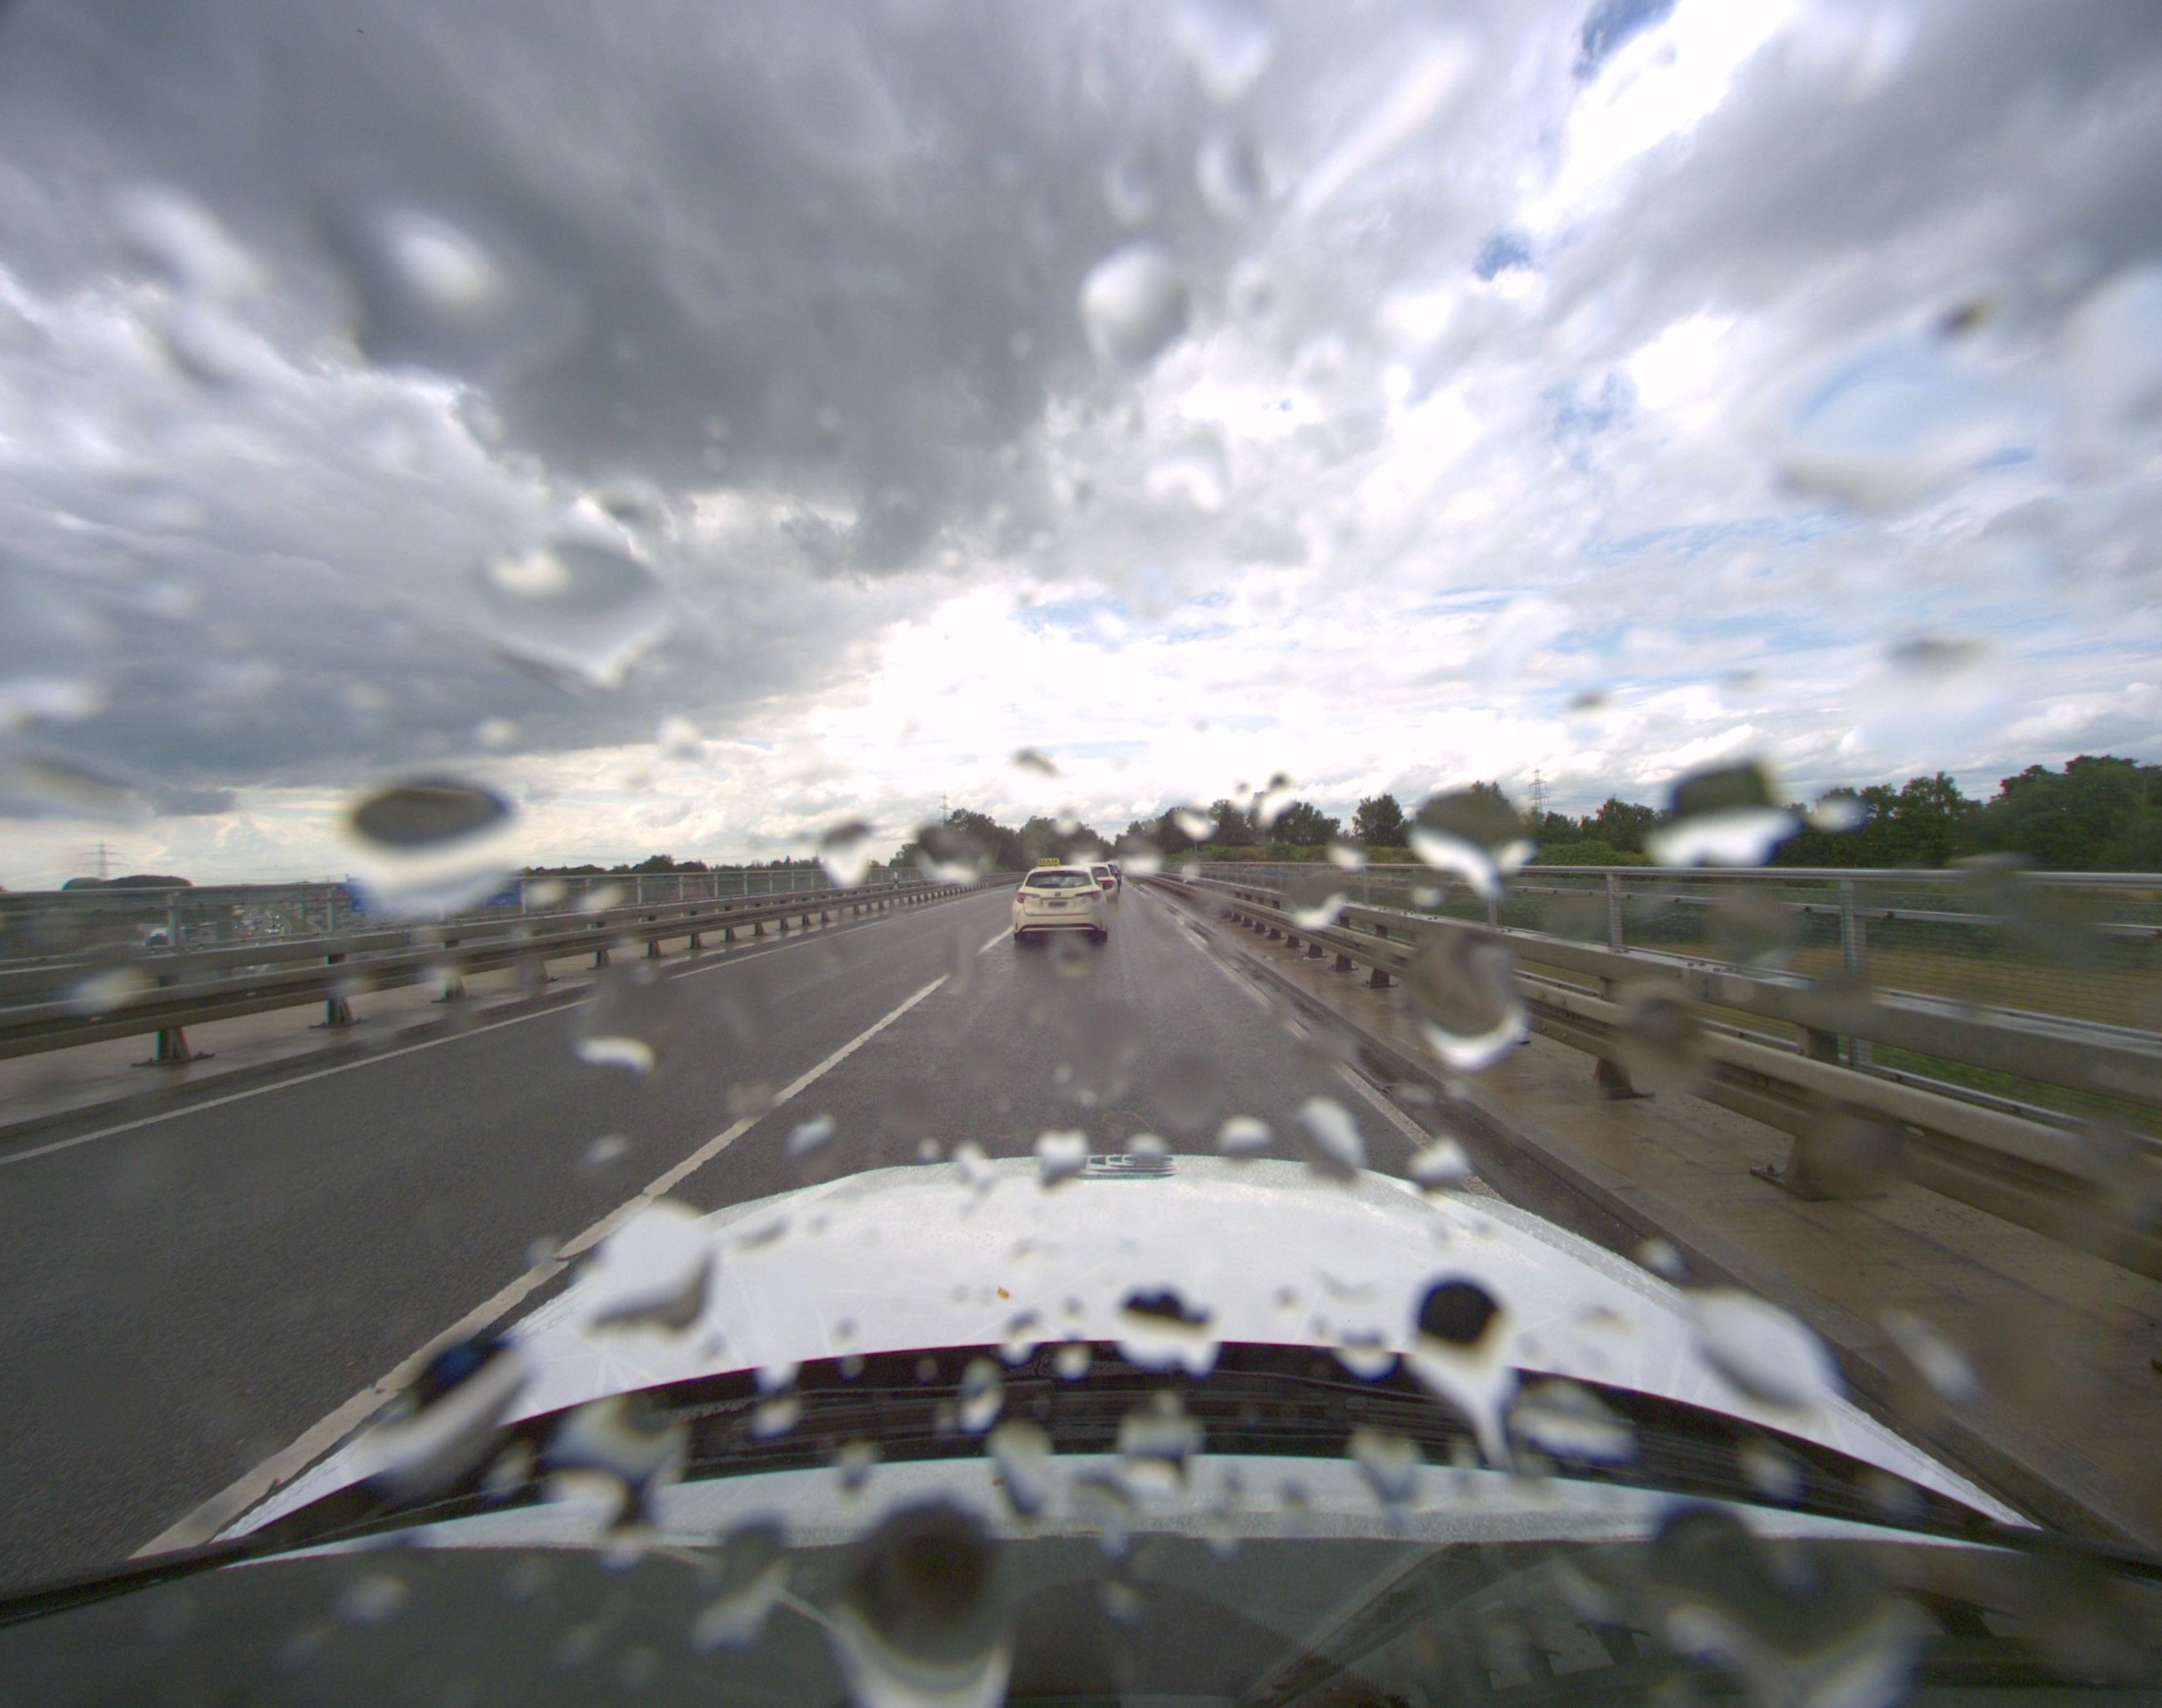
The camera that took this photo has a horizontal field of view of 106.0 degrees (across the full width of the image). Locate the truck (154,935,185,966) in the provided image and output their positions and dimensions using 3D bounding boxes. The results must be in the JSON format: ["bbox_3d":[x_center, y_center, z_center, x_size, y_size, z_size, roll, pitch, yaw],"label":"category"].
[{"bbox_3d":[-156.326,16.456,139.770,2.450,4.194,11.034,1,-1,-42],"label":"truck"}]

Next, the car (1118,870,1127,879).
[{"bbox_3d":[10.123,4.964,199.913,1.986,2.014,4.001,0,-1,1],"label":"car"}]

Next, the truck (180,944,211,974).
[{"bbox_3d":[-144.262,17.004,132.768,2.450,3.762,11.034,1,-1,-42],"label":"truck"}]

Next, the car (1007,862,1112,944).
[{"bbox_3d":[-0.320,0.888,16.488,1.847,1.394,4.172,0,0,2],"label":"car"}]

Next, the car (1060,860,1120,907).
[{"bbox_3d":[0.348,0.930,27.372,1.847,1.443,4.172,0,0,2],"label":"car"}]

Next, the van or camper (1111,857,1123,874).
[{"bbox_3d":[7.576,2.447,172.131,2.324,3.563,6.308,0,-1,2],"label":"van or camper"}]

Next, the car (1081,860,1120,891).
[{"bbox_3d":[0.973,1.056,40.844,1.847,1.443,4.172,0,0,2],"label":"car"}]

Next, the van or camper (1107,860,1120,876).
[{"bbox_3d":[5.785,2.478,146.104,2.324,2.864,6.308,0,-1,2],"label":"van or camper"}]
